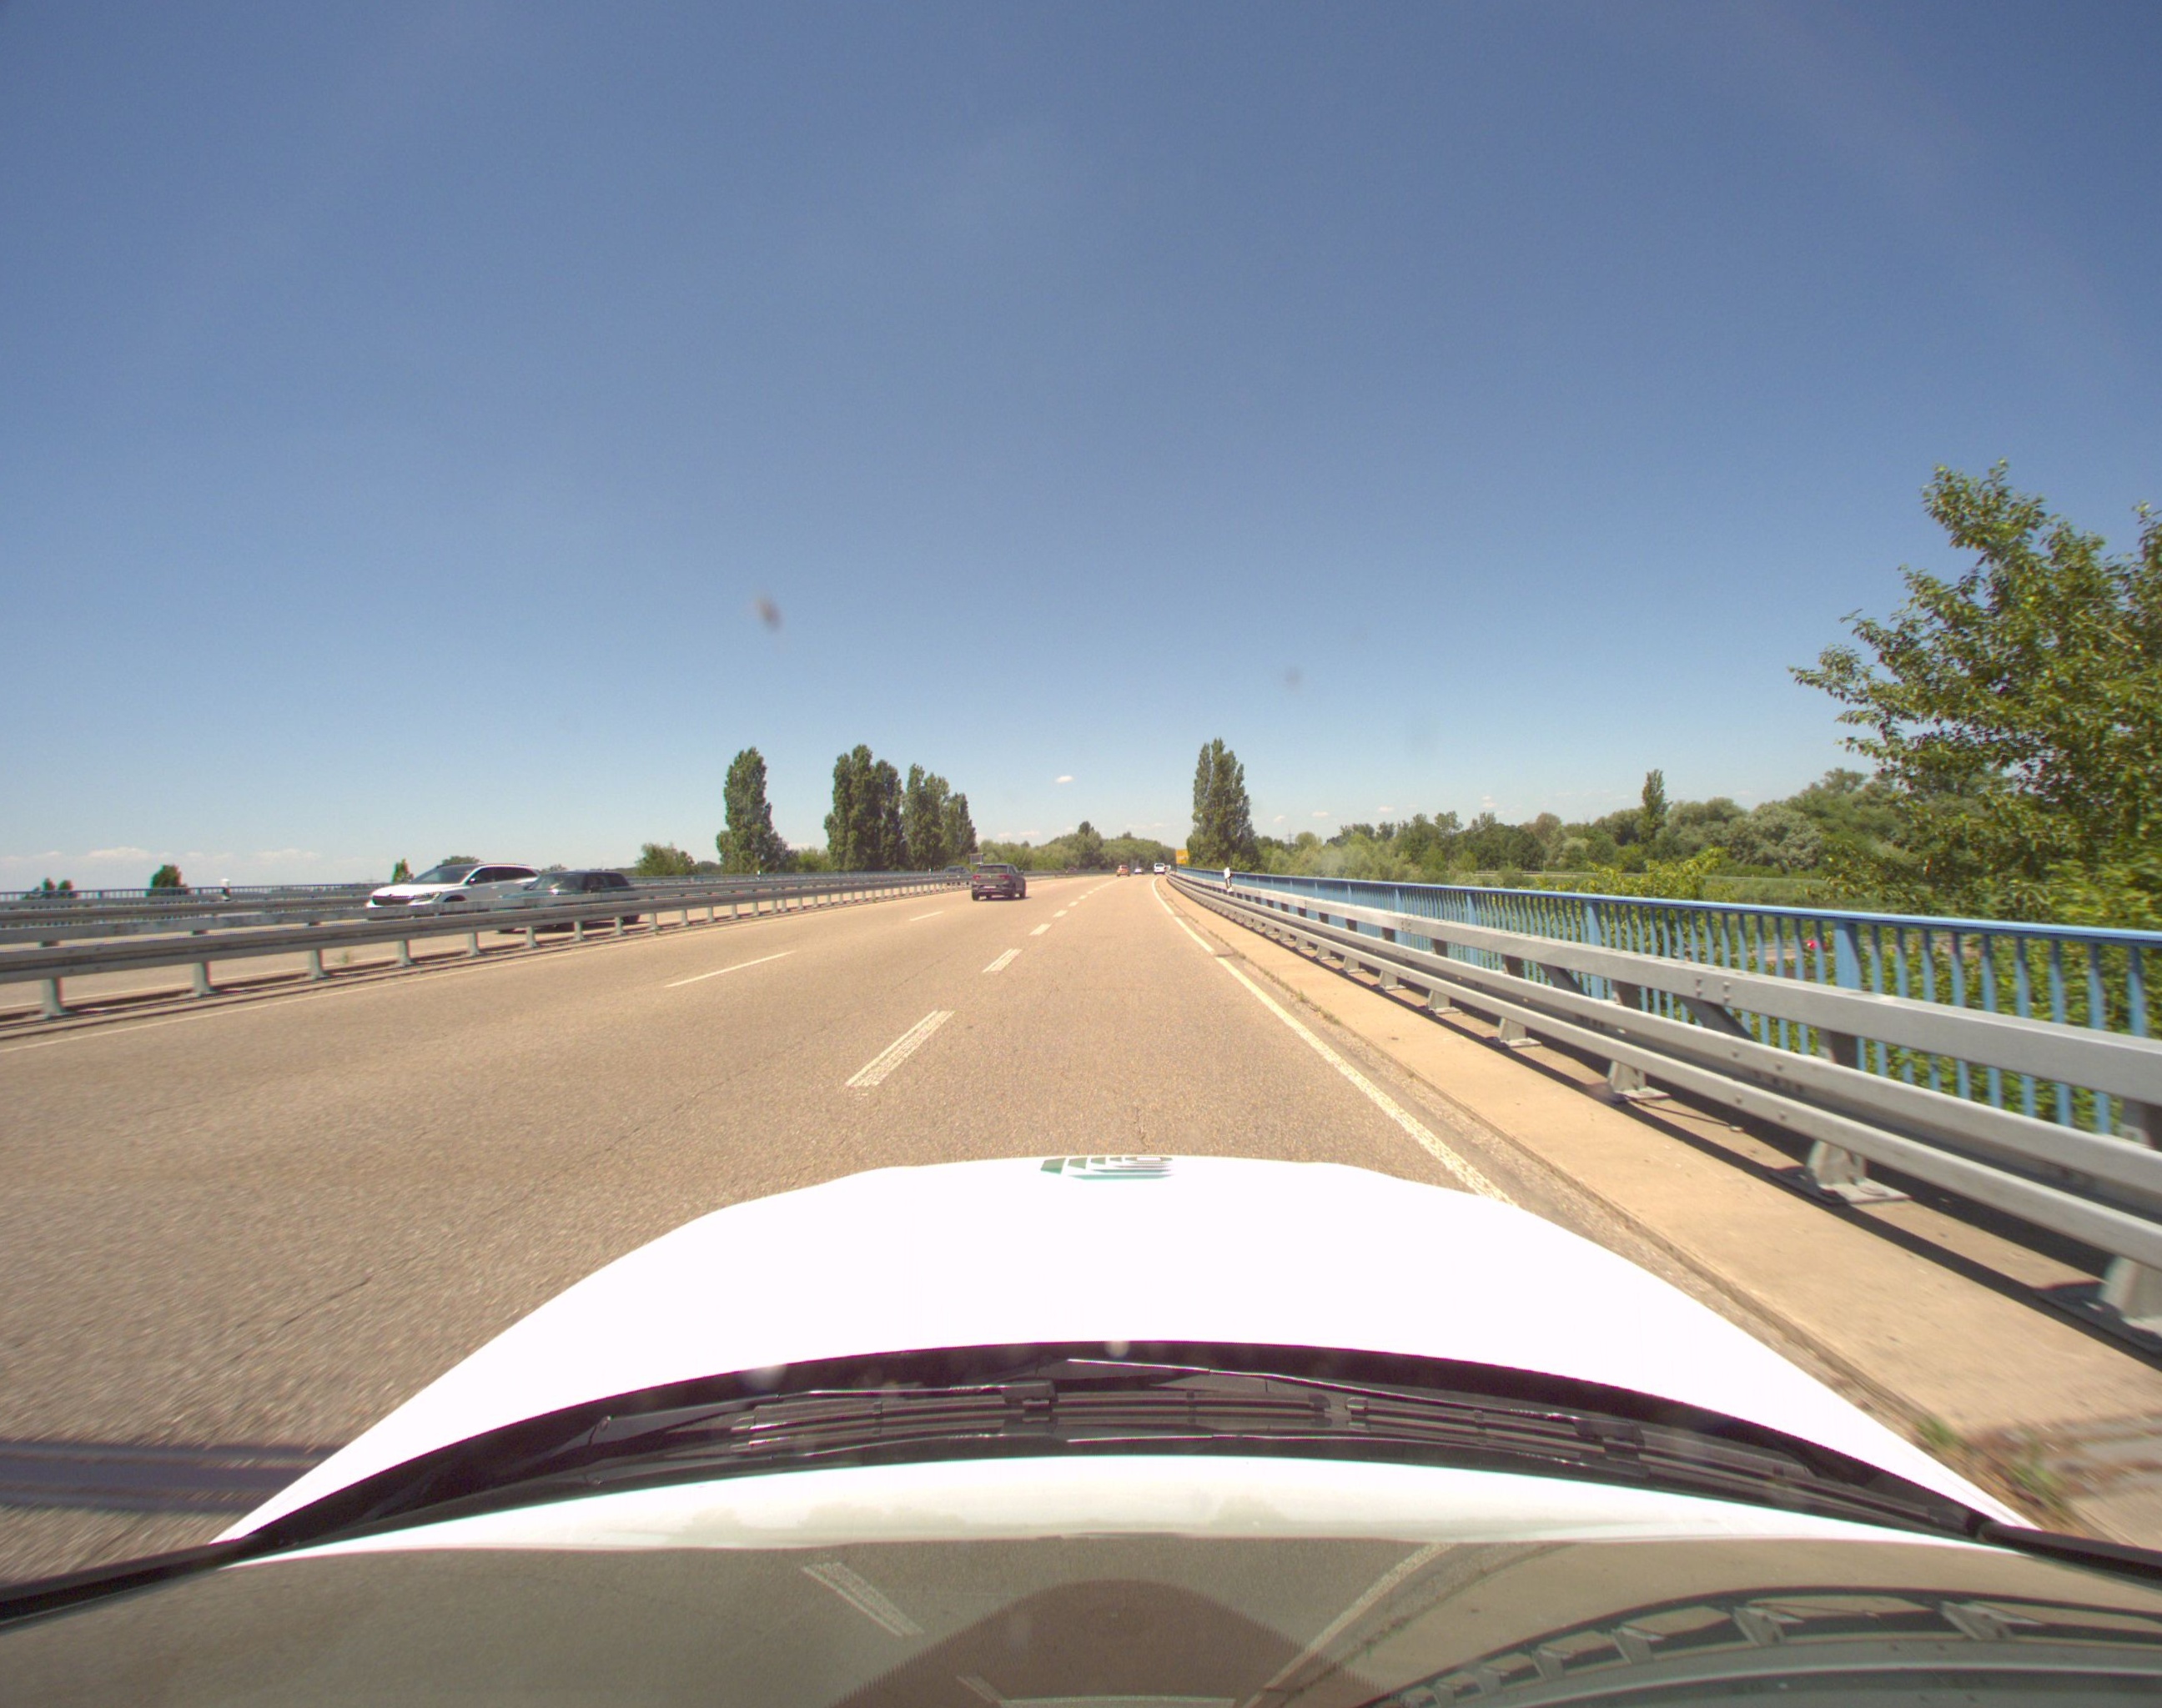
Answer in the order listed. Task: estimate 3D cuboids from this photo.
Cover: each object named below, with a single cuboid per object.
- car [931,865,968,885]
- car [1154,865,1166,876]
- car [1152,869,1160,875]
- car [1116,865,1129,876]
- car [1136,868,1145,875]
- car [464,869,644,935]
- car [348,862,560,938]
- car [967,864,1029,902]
[{"bbox_3d":[-10.339,1.630,64.329,1.897,1.505,4.687,-1,-1,3],"label":"car"},{"bbox_3d":[13.506,2.764,139.214,1.831,1.895,4.007,0,-1,7],"label":"car"},{"bbox_3d":[19.721,4.663,214.249,1.933,1.464,4.009,0,0,8],"label":"car"},{"bbox_3d":[5.838,2.270,114.237,1.833,1.464,4.004,0,0,4],"label":"car"},{"bbox_3d":[12.650,3.630,173.926,1.832,1.451,4.006,0,0,5],"label":"car"},{"bbox_3d":[-12.741,1.116,20.017,1.718,1.429,3.950,-1,-2,3],"label":"car"},{"bbox_3d":[-16.884,1.198,22.330,1.844,1.818,4.799,-1,-2,4],"label":"car"},{"bbox_3d":[-3.530,1.202,35.521,1.832,1.530,4.476,0,0,5],"label":"car"}]
